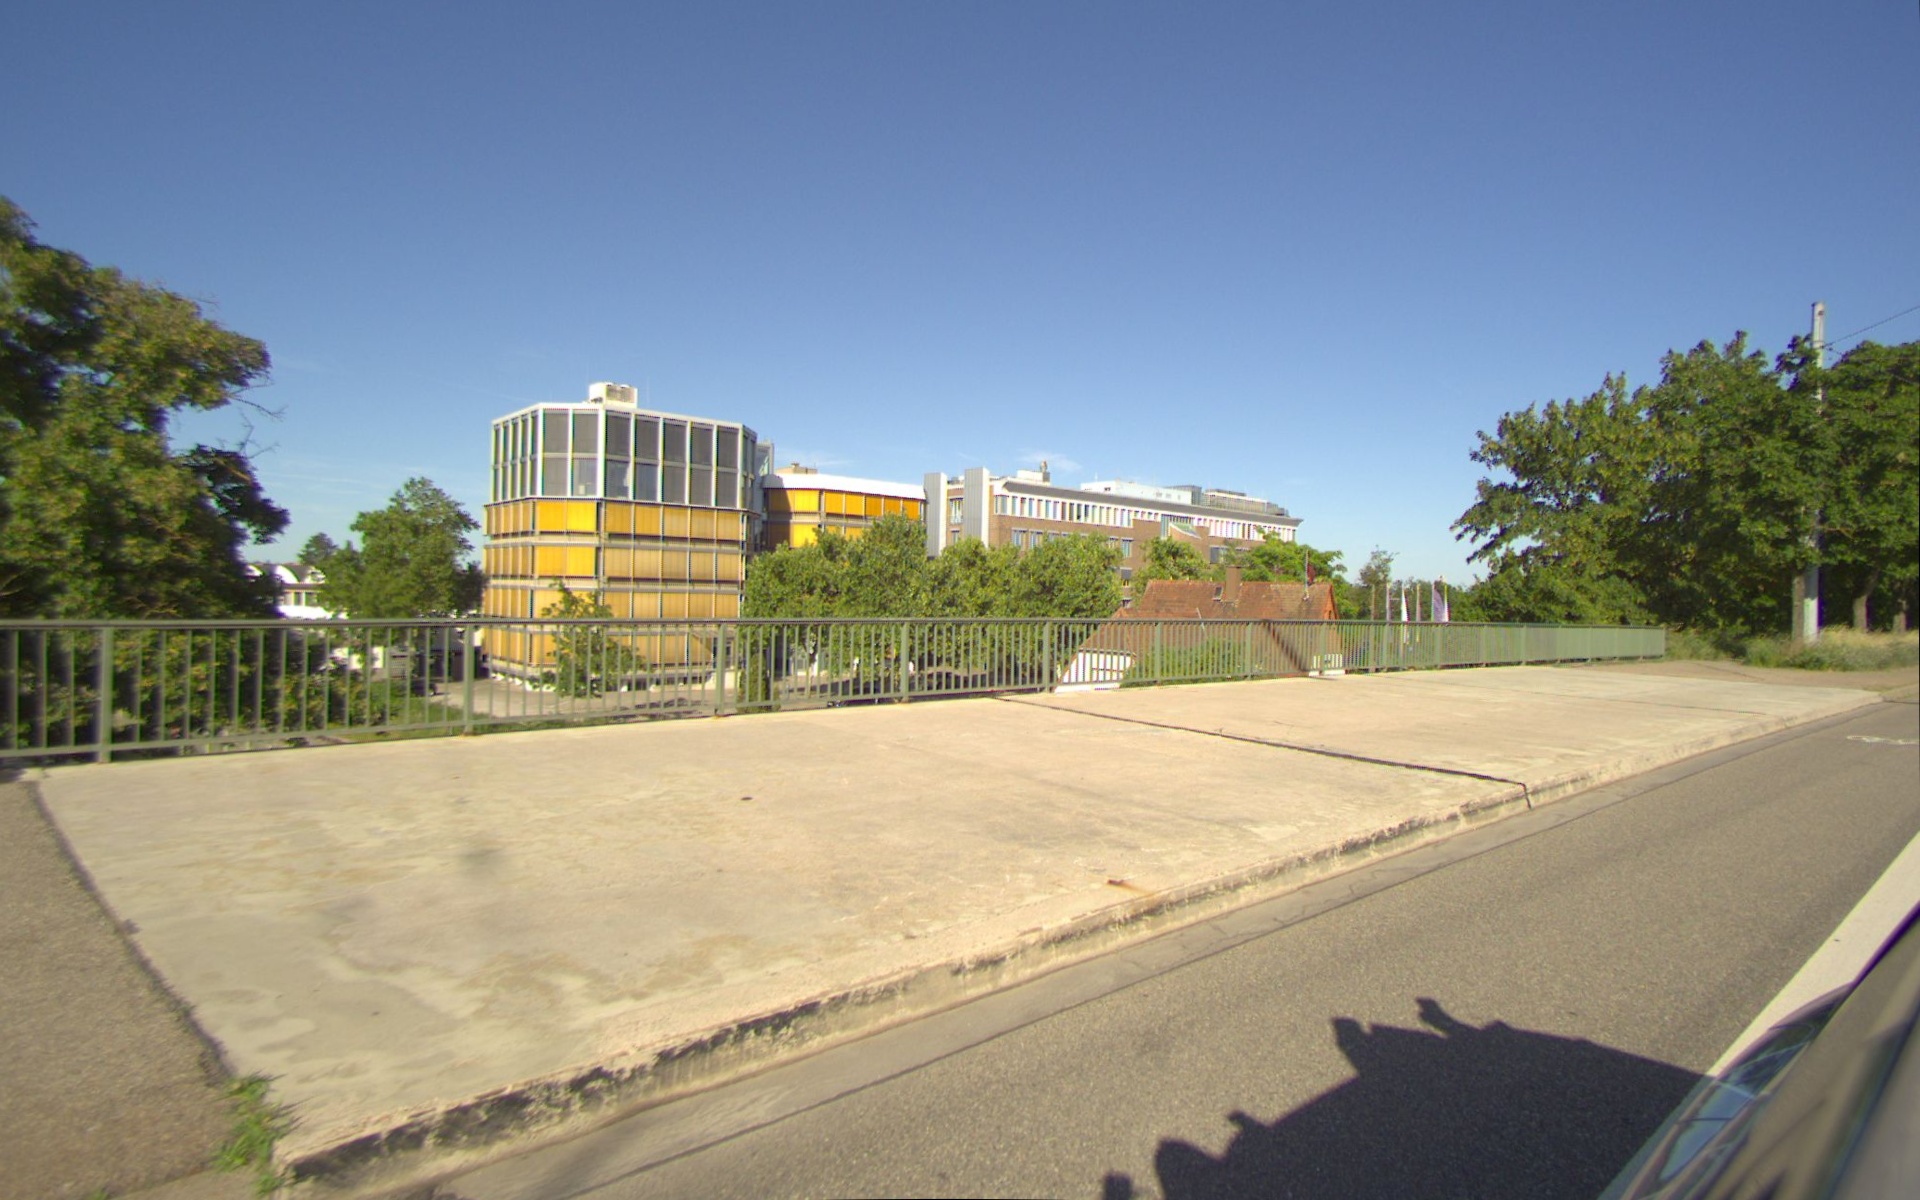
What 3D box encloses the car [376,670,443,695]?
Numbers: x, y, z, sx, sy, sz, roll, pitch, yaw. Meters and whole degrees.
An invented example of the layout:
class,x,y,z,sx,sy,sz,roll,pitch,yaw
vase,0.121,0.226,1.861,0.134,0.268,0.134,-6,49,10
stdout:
class,x,y,z,sx,sy,sz,roll,pitch,yaw
car,-40.850,6.111,75.145,1.774,1.661,3.940,-1,-2,41
